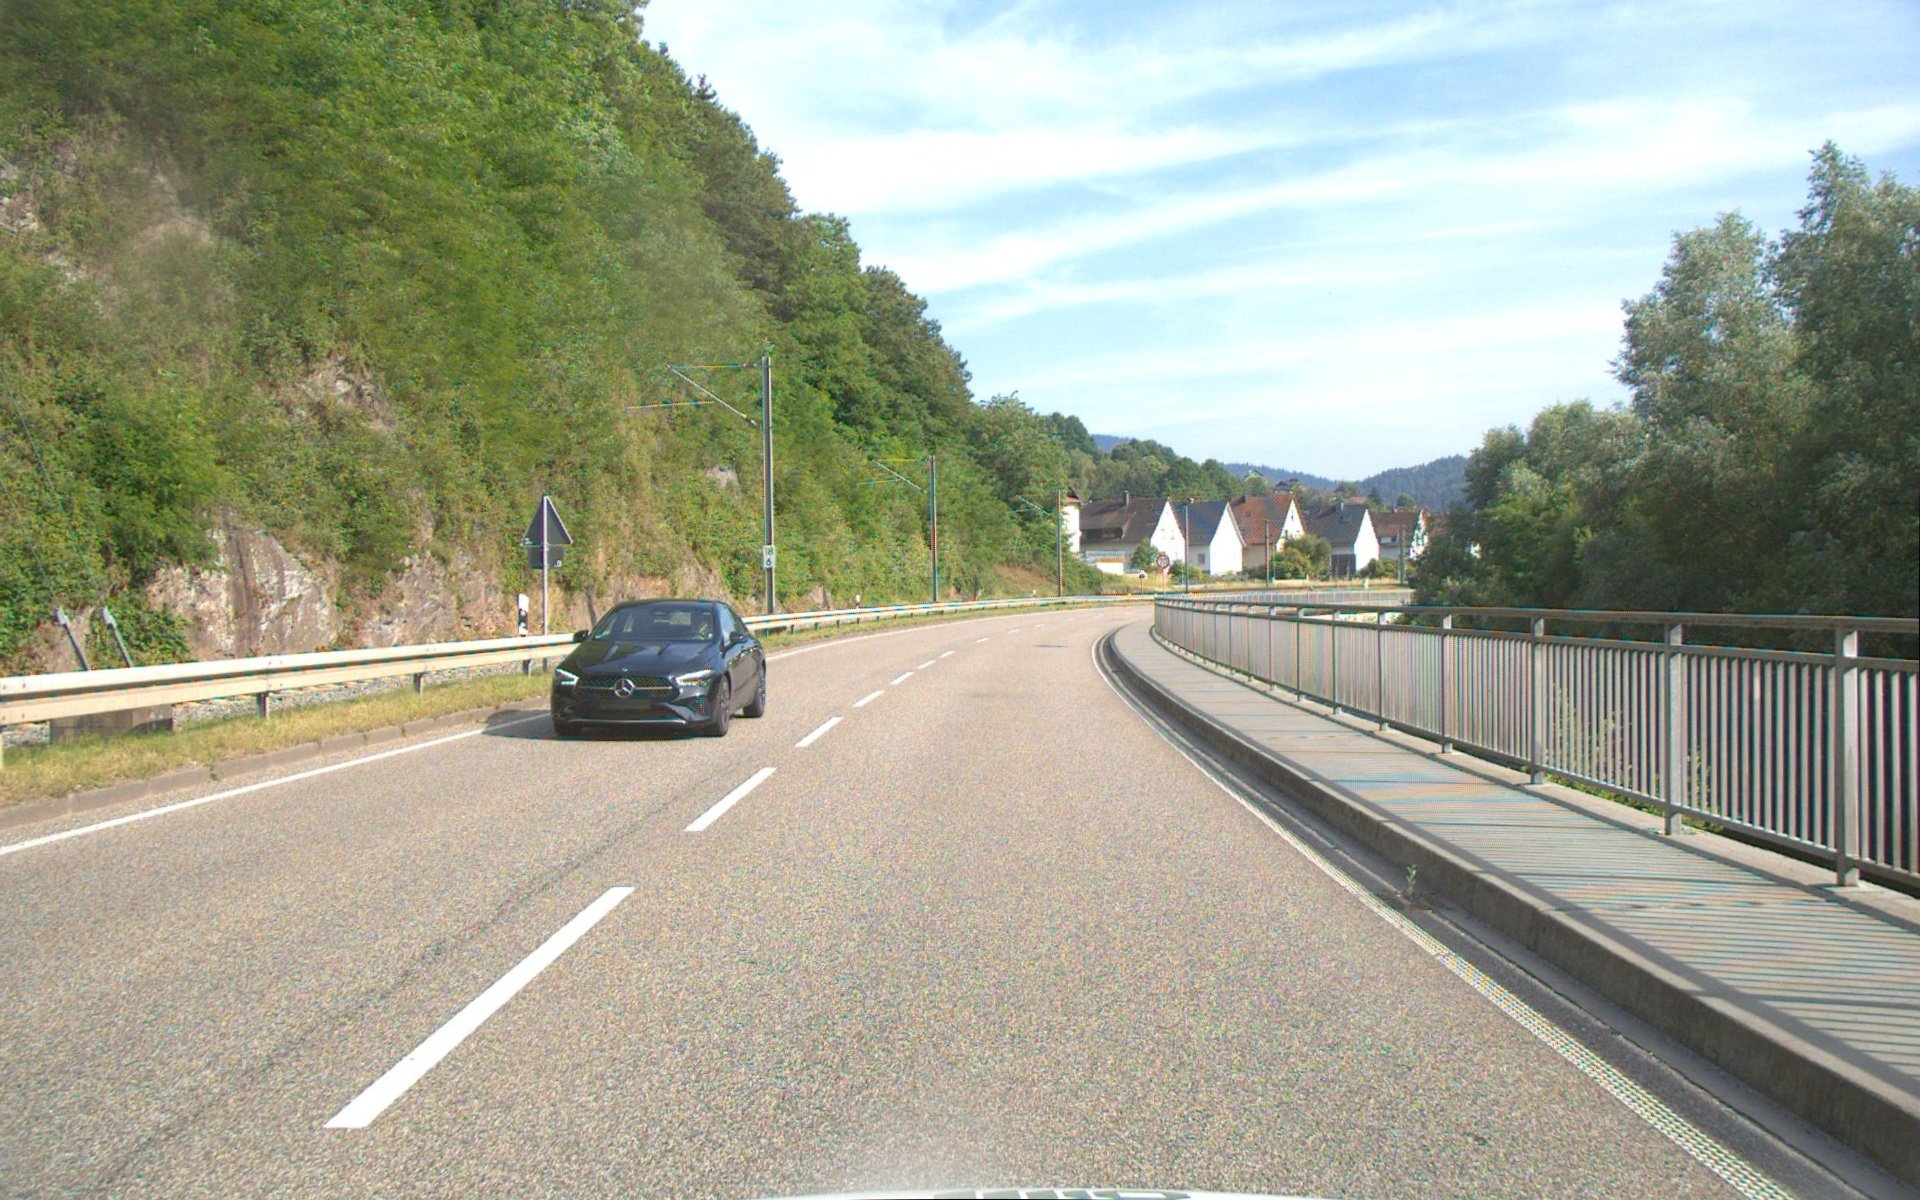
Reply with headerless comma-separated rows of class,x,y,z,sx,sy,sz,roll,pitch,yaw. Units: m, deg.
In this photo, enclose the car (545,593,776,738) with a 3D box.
car,-3.270,0.654,18.924,1.809,1.426,4.476,-1,0,0
